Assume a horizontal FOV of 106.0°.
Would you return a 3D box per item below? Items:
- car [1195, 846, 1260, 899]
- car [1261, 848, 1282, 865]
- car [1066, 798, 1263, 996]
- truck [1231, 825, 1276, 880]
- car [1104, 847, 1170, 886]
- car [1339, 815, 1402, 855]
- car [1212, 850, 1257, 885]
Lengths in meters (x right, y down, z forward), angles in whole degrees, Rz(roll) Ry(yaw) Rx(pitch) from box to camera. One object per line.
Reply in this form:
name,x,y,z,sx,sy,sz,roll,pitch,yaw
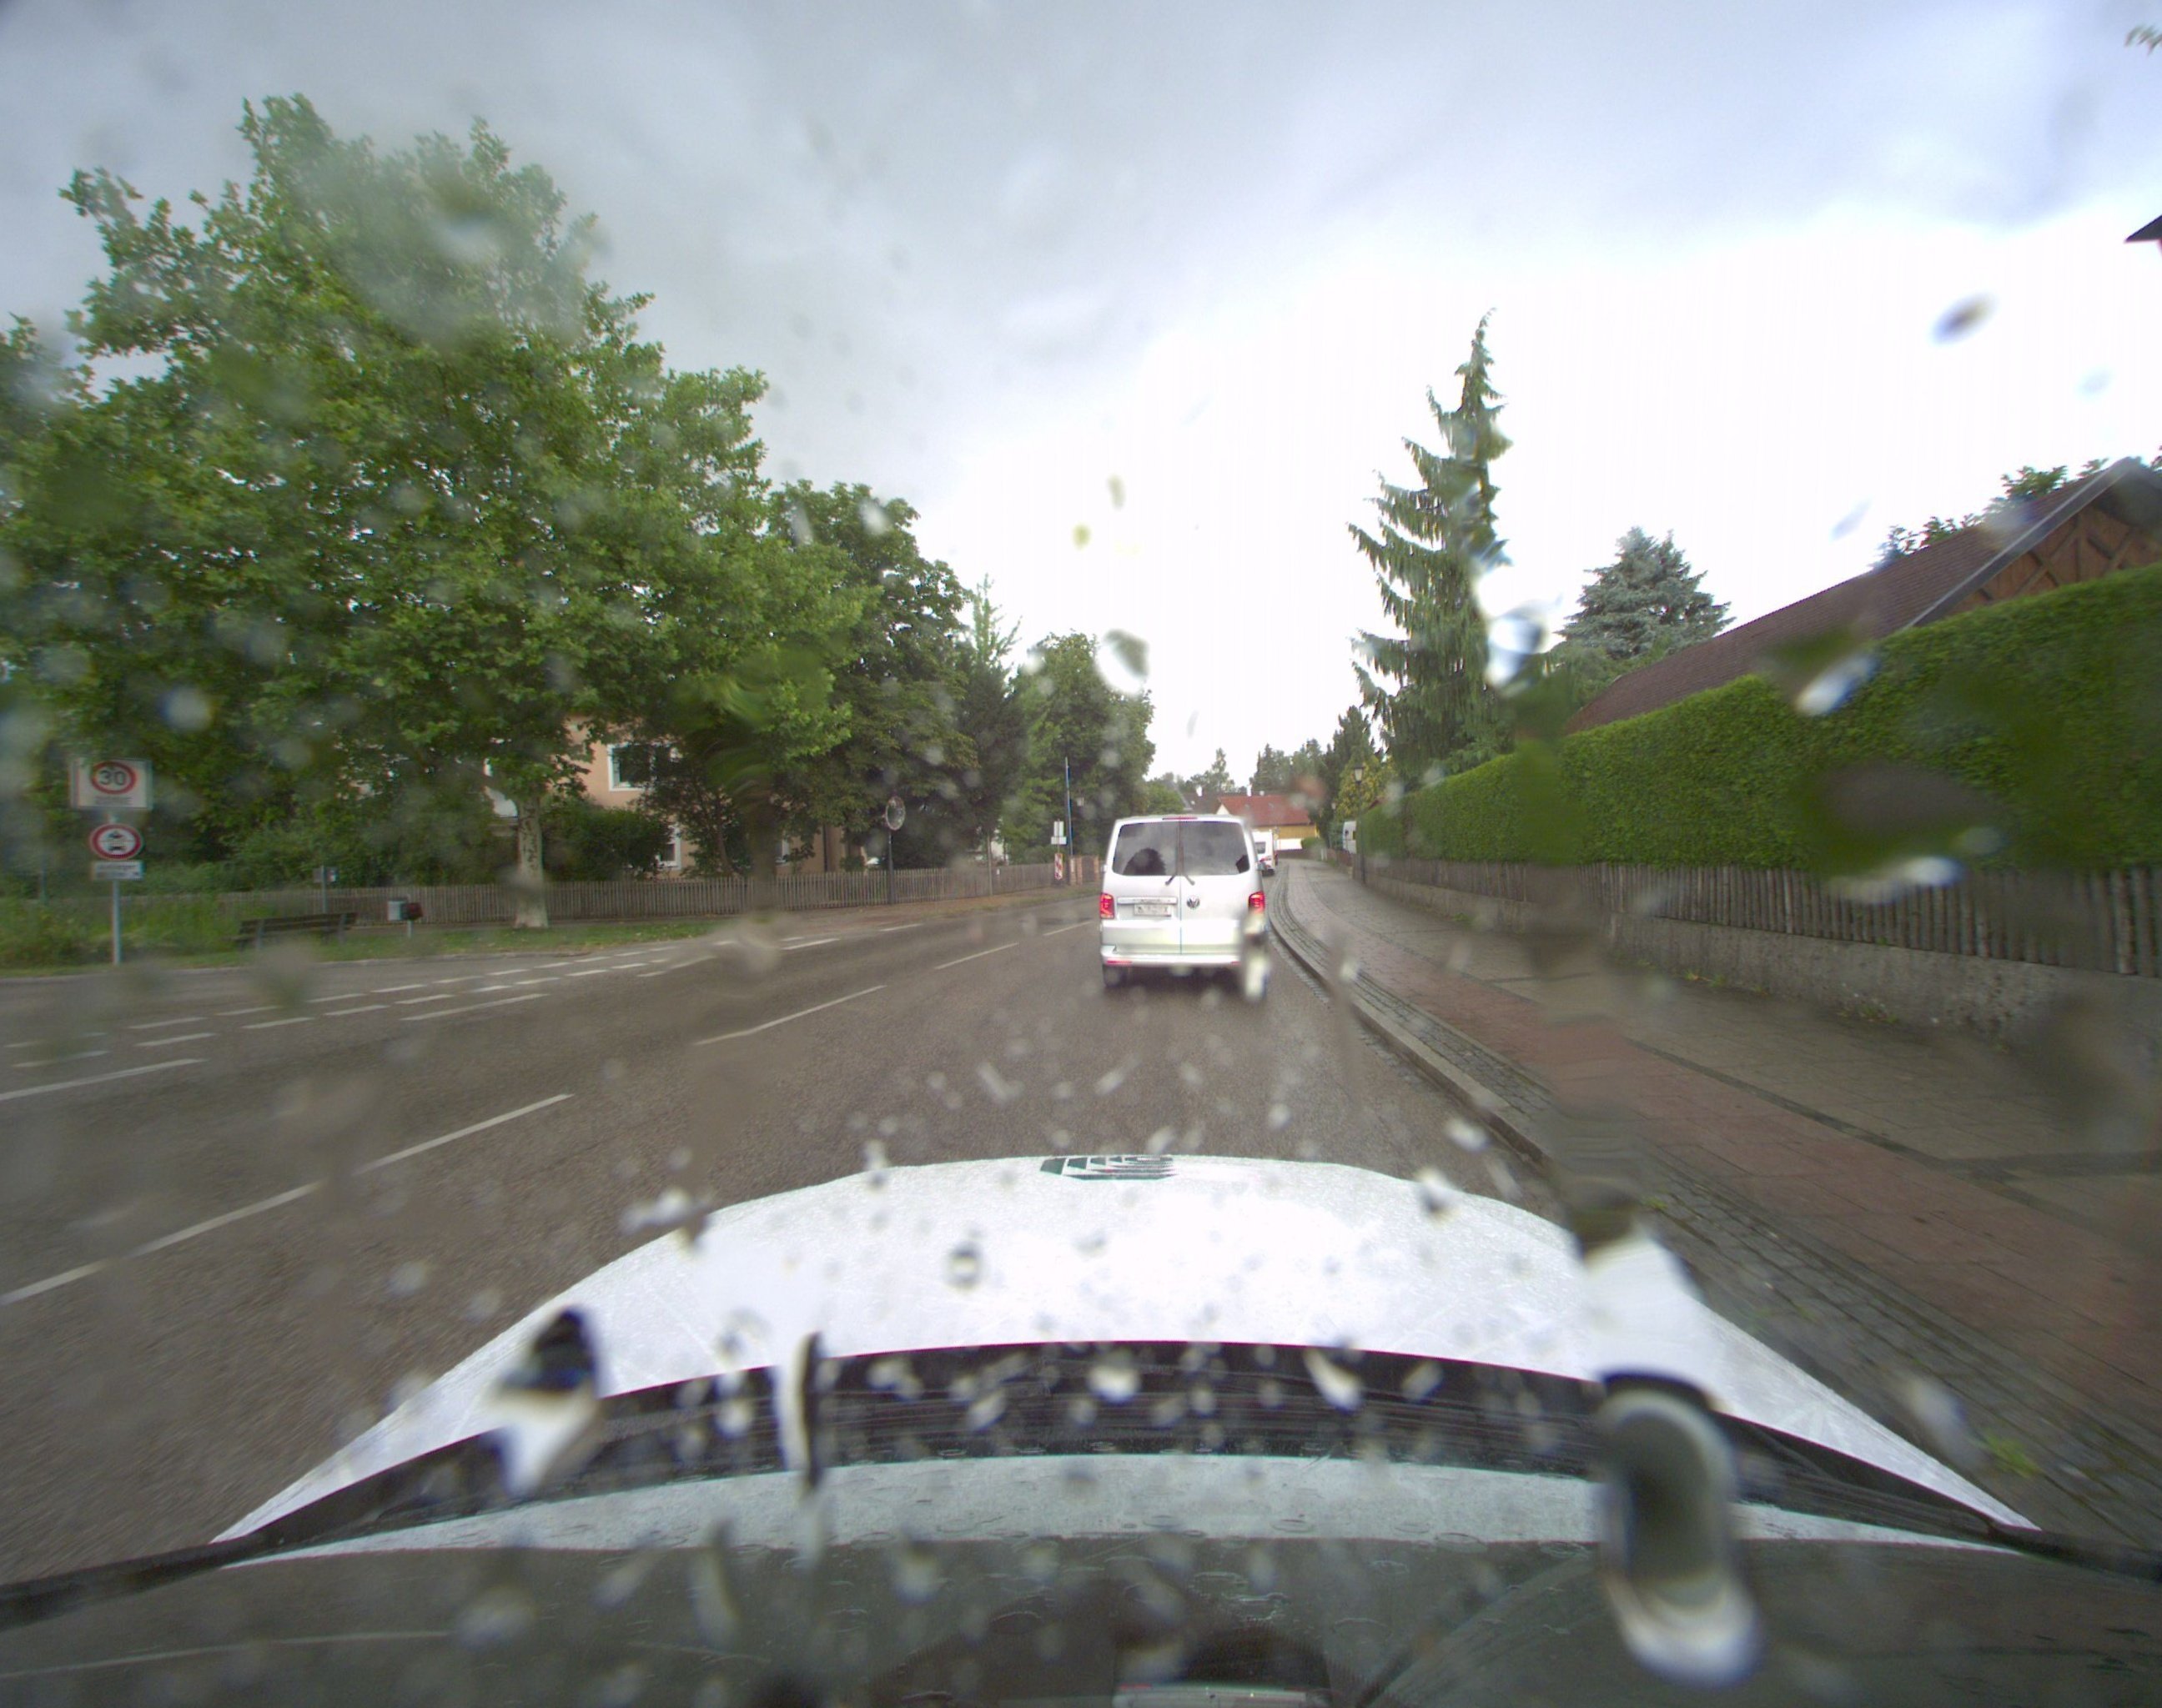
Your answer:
car,4.803,0.567,26.317,1.788,1.588,4.015,-1,-1,14
car,17.642,0.255,75.409,1.788,1.508,4.015,-1,-1,14
car,1.278,0.461,10.464,1.787,2.014,4.017,-1,-1,16
truck,10.487,-0.046,49.120,2.458,3.074,6.319,-1,-1,14
car,2.488,0.509,35.150,1.979,1.595,4.209,-1,0,15
car,16.822,-1.025,47.598,1.986,2.173,4.953,0,-1,1
car,7.138,0.613,37.621,1.788,1.508,4.015,-1,-1,14
